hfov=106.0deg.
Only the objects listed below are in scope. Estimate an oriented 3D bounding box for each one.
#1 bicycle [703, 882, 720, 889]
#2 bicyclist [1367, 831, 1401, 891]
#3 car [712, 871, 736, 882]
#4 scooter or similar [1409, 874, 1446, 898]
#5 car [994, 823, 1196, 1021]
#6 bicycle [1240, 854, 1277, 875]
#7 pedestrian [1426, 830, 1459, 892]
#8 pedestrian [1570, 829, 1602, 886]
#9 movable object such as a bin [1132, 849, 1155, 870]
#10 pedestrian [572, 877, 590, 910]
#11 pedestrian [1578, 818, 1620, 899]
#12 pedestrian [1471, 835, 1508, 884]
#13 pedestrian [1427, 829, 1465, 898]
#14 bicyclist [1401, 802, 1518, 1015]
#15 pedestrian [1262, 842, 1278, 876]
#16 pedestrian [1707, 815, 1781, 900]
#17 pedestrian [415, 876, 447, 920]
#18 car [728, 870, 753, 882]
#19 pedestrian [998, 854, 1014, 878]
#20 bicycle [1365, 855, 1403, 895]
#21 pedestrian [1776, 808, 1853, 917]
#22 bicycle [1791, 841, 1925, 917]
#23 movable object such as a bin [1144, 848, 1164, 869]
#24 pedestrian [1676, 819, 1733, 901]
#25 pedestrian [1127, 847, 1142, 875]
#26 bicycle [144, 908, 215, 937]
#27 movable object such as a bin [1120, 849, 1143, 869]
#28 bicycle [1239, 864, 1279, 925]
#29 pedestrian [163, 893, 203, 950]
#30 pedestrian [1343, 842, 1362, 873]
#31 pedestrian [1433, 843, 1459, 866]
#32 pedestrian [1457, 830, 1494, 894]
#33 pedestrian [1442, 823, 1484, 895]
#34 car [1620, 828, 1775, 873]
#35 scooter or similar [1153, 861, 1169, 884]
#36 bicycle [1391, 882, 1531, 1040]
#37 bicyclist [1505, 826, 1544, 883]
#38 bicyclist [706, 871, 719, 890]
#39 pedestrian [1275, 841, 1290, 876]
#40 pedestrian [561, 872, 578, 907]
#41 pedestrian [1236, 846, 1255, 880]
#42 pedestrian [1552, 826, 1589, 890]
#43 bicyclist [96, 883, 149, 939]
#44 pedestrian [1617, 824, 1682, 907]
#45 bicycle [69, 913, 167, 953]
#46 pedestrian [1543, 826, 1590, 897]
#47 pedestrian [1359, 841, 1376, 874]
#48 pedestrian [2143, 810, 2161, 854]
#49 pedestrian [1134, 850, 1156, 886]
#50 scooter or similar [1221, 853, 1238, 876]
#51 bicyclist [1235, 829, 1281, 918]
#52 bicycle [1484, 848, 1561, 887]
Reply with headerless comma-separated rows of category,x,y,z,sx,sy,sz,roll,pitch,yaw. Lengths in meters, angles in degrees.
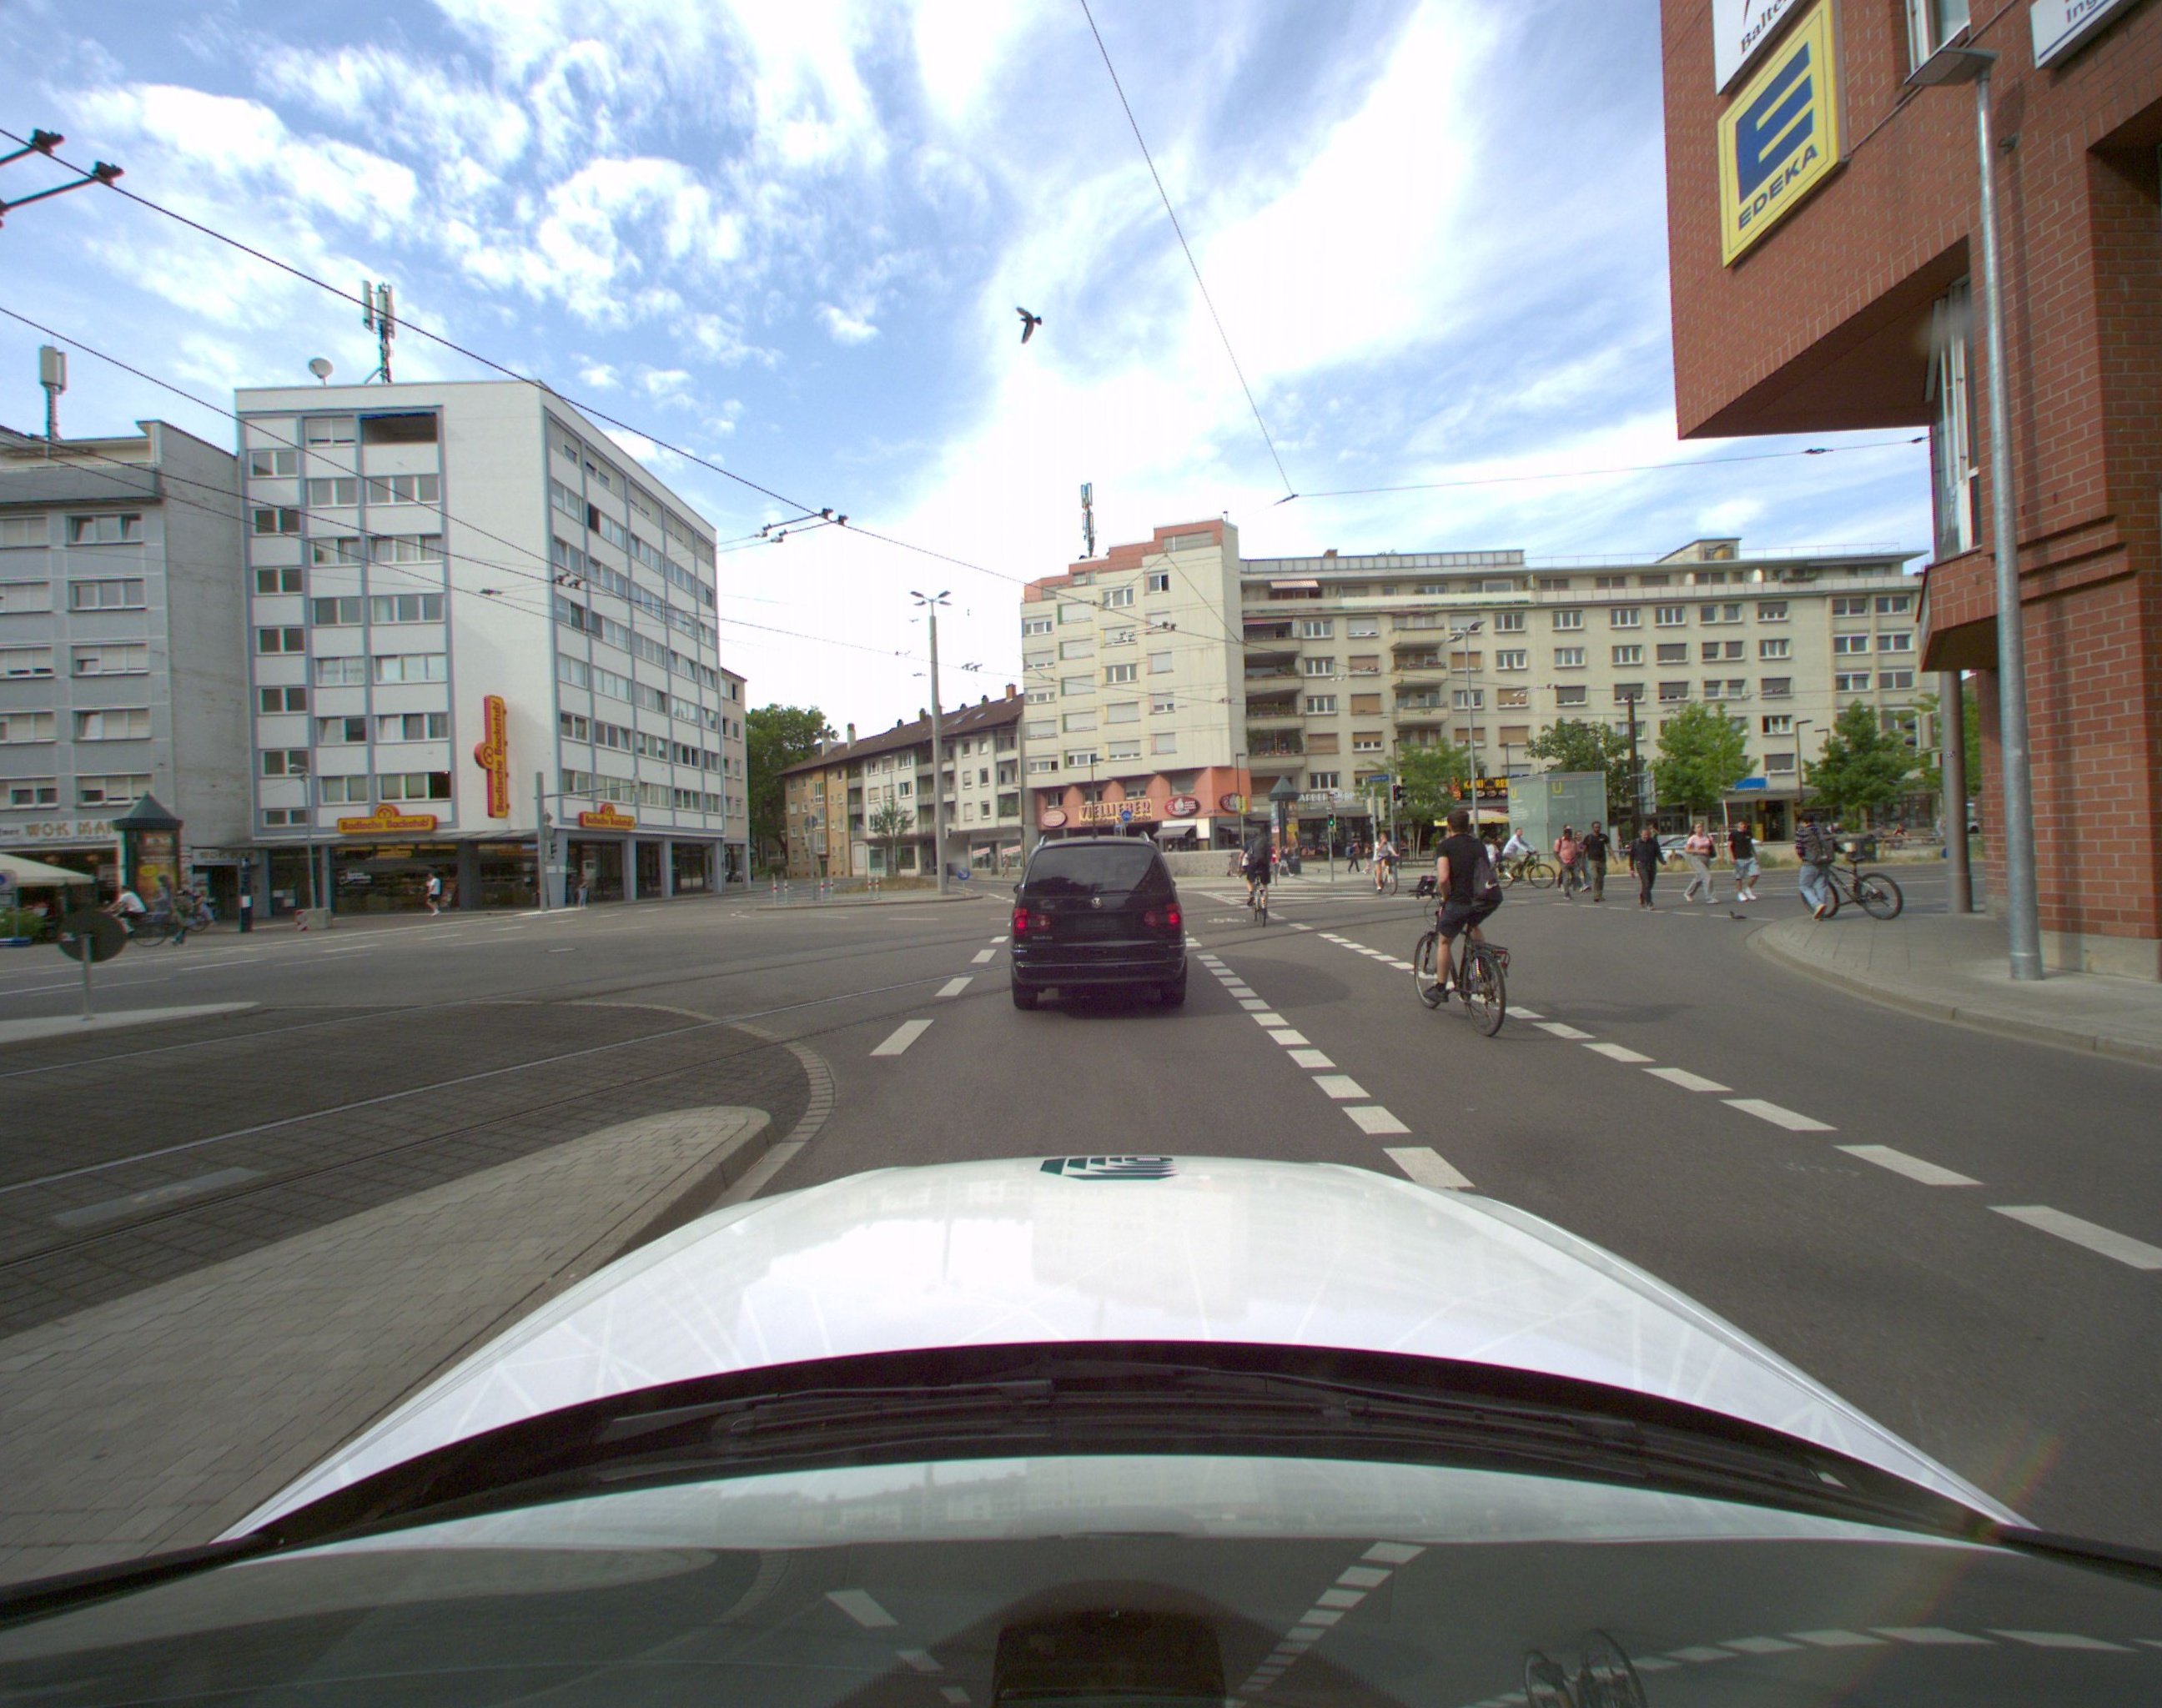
bicycle,-34.533,2.947,76.182,0.481,0.588,2.000,-2,0,4
bicyclist,8.947,0.203,24.090,0.638,1.709,0.863,-2,0,1
car,-48.659,3.038,110.985,1.673,1.422,3.898,-2,0,-44
scooter or similar,9.010,0.820,21.188,0.506,0.574,0.813,-2,-1,-9
car,0.122,0.627,9.356,1.807,1.766,3.737,-2,0,-1
bicycle,9.832,0.589,45.057,2.462,1.013,0.538,-3,0,-40
pedestrian,10.105,0.192,22.793,0.467,1.686,0.795,-2,-1,-4
pedestrian,13.618,0.099,21.968,0.621,1.511,0.597,-2,0,38
movable object such as a bin,4.734,0.427,62.081,1.182,1.515,1.205,-3,0,45
pedestrian,-23.757,1.875,38.702,0.497,1.559,0.518,-2,0,1
pedestrian,11.747,0.104,18.476,0.539,1.797,0.561,-2,0,1
pedestrian,13.069,0.181,26.065,0.552,1.501,0.843,-2,-2,-15
pedestrian,9.190,0.231,20.505,0.636,1.687,0.600,-2,0,1
bicyclist,3.241,0.442,7.043,0.556,1.709,0.863,-2,0,2
pedestrian,9.814,0.271,42.333,0.697,1.737,0.415,-2,0,0
pedestrian,14.026,0.070,17.259,0.644,1.714,1.056,-2,0,1
pedestrian,-28.484,1.907,35.715,0.859,1.859,0.581,-2,0,0
car,-44.892,2.918,107.352,1.673,1.422,3.818,-2,0,-44
pedestrian,-5.937,0.930,64.469,0.662,1.852,0.960,-6,1,-41
bicycle,8.952,0.592,24.130,0.389,1.122,2.077,-2,0,2
pedestrian,11.796,0.135,13.113,0.517,1.686,0.726,-2,0,1
bicycle,12.275,0.376,12.947,0.395,1.110,1.831,-2,0,2
movable object such as a bin,5.622,0.364,62.843,1.153,1.515,1.011,-3,-1,45
pedestrian,13.184,0.120,17.233,0.644,1.688,0.651,-2,0,1
pedestrian,3.763,0.457,57.049,0.678,1.903,0.582,-6,2,-43
bicycle,-35.164,2.671,31.774,1.791,0.989,0.469,-2,0,-24
movable object such as a bin,3.792,0.383,61.046,1.209,1.460,1.156,-3,-1,45
bicycle,3.552,0.785,16.371,0.389,1.122,1.921,-2,0,2
pedestrian,-26.087,1.942,23.663,0.664,1.594,0.680,-2,0,-42
pedestrian,14.323,0.168,42.987,0.815,1.576,0.415,-2,0,2
pedestrian,20.297,0.028,45.324,1.026,1.245,0.935,0,-1,3
pedestrian,10.886,0.217,22.492,0.631,1.695,0.706,-2,0,1
pedestrian,10.115,0.126,21.571,0.636,1.854,0.877,-2,0,1
car,24.431,-0.127,32.410,4.571,1.512,2.001,-3,0,1
scooter or similar,4.106,0.958,41.654,0.695,1.110,0.611,-3,0,13
bicycle,3.304,0.860,7.273,0.404,1.122,2.019,-2,0,4
bicyclist,12.960,0.018,23.788,0.851,1.603,0.647,-3,-1,37
bicyclist,-34.483,2.476,76.177,0.605,1.646,1.039,-2,0,4
pedestrian,10.325,0.243,41.739,0.591,1.737,0.415,-2,0,0
pedestrian,-26.822,1.844,42.697,0.474,1.765,0.589,-2,0,1
pedestrian,8.277,0.441,40.957,0.800,1.680,0.627,-3,0,4
pedestrian,12.996,0.107,21.626,0.712,1.647,0.711,-2,0,38
bicyclist,-28.253,1.667,24.019,0.888,1.569,0.540,-2,-1,-39
pedestrian,11.436,0.226,16.417,0.616,1.601,0.922,-2,0,1
bicycle,-28.333,2.311,24.000,1.798,0.989,0.468,-2,0,-40
pedestrian,11.647,0.173,19.557,0.539,1.651,0.893,-2,0,1
pedestrian,14.511,0.180,41.236,0.674,1.641,0.440,-2,0,0
pedestrian,49.924,-1.038,37.542,0.903,2.013,0.759,-3,-1,-3
pedestrian,3.308,0.717,41.823,0.928,1.740,0.688,-3,0,14
scooter or similar,8.201,0.589,45.024,0.286,1.212,1.117,-2,-1,-22
bicyclist,3.544,0.377,16.378,0.695,1.709,0.908,-2,0,1
bicycle,12.915,0.414,23.854,1.895,1.087,0.394,-3,0,36
